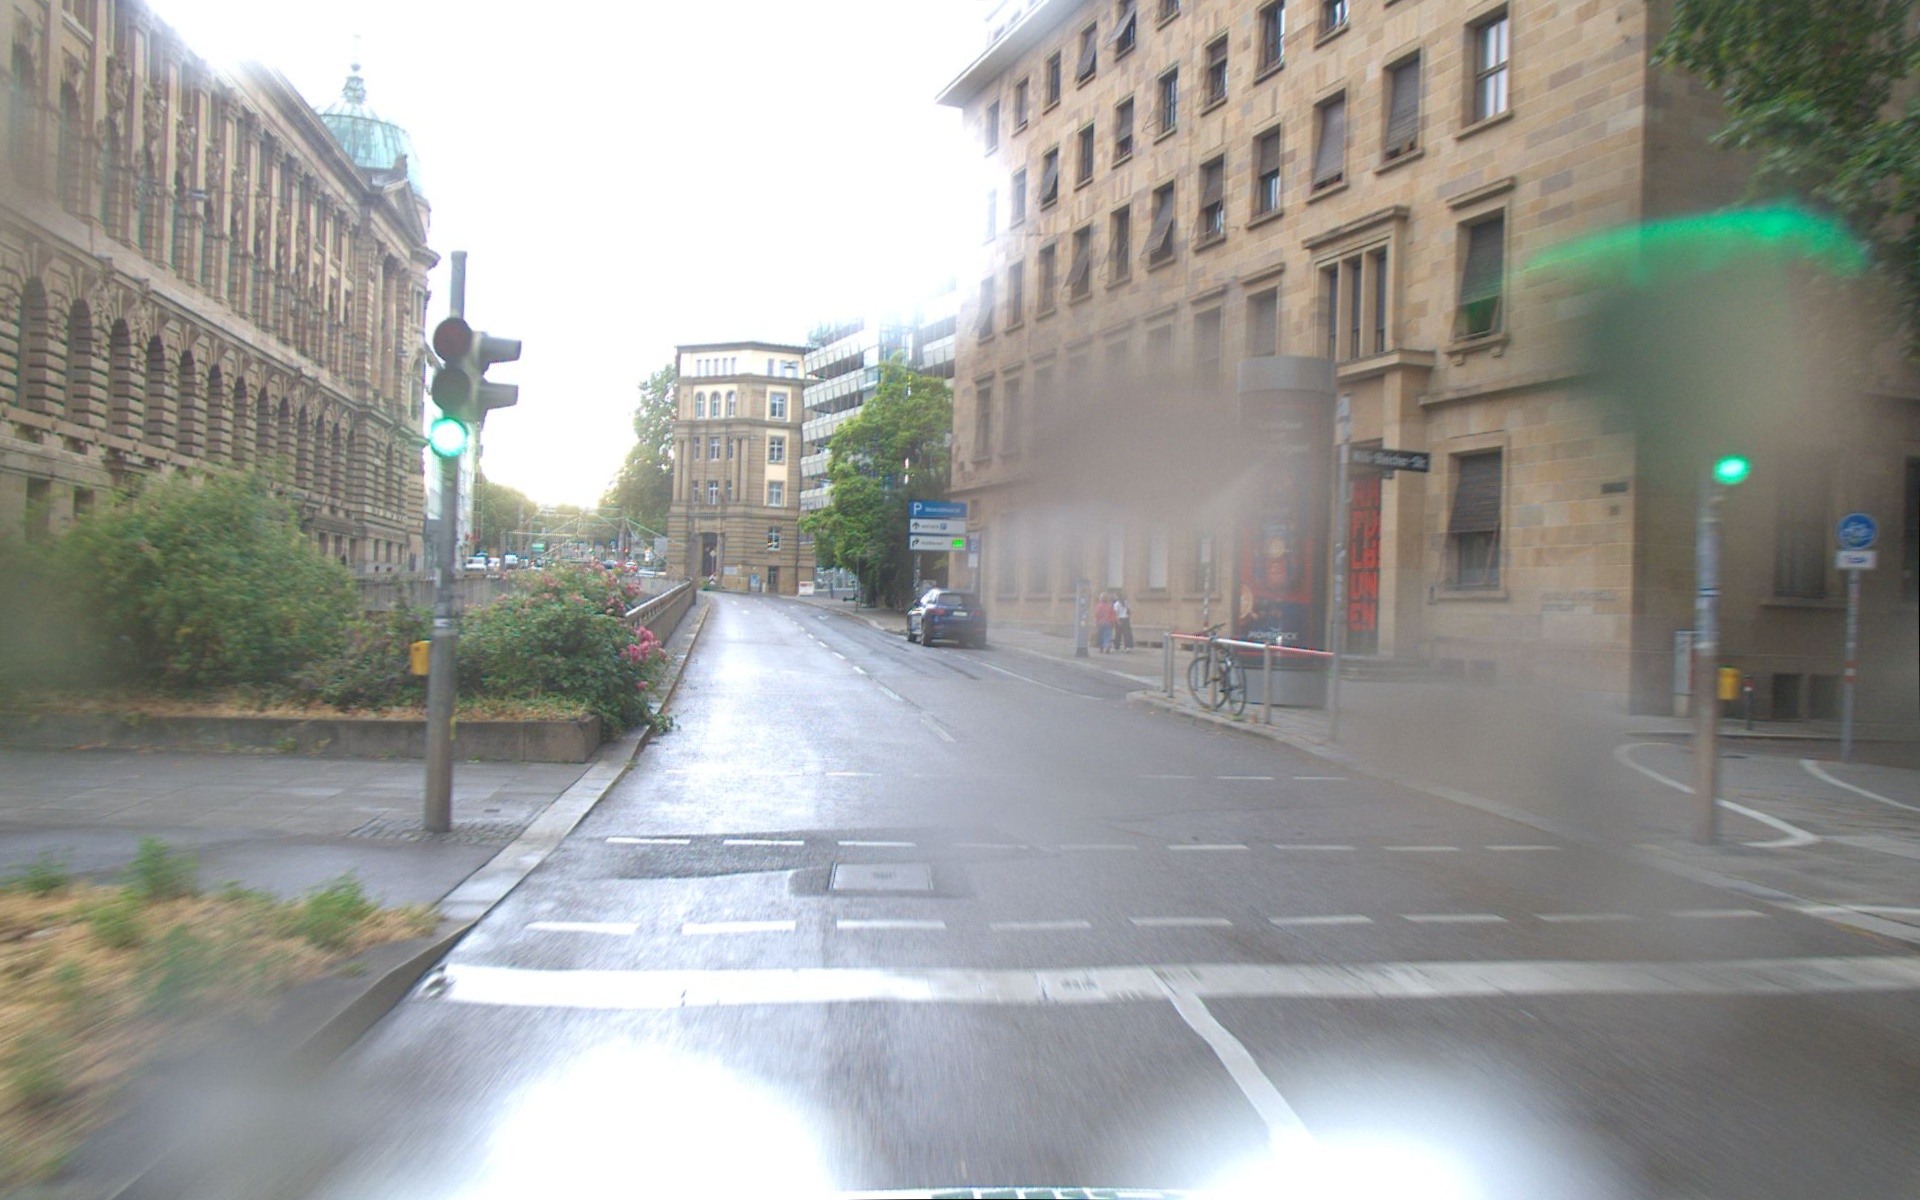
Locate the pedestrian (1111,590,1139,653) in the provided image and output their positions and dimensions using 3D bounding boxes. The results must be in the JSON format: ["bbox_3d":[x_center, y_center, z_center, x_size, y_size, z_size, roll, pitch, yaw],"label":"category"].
[{"bbox_3d":[4.369,0.567,43.865,0.515,1.630,0.671,2,0,-14],"label":"pedestrian"}]

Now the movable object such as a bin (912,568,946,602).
[{"bbox_3d":[-1.249,-0.595,65.930,1.216,1.333,1.231,0,0,-8],"label":"movable object such as a bin"}]

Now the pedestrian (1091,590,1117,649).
[{"bbox_3d":[3.787,0.517,43.616,0.514,1.518,0.673,2,0,-6],"label":"pedestrian"}]

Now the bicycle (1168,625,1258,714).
[{"bbox_3d":[3.209,0.861,21.124,0.480,1.030,1.922,2,0,-11],"label":"bicycle"}]

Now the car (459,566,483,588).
[{"bbox_3d":[-47.283,-2.238,160.023,1.960,1.915,4.909,3,0,-14],"label":"car"}]

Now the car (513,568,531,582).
[{"bbox_3d":[-52.285,-3.011,197.485,1.960,1.554,3.649,3,0,-14],"label":"car"}]

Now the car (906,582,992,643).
[{"bbox_3d":[-0.365,0.338,48.634,1.736,1.647,4.146,2,0,-11],"label":"car"}]
